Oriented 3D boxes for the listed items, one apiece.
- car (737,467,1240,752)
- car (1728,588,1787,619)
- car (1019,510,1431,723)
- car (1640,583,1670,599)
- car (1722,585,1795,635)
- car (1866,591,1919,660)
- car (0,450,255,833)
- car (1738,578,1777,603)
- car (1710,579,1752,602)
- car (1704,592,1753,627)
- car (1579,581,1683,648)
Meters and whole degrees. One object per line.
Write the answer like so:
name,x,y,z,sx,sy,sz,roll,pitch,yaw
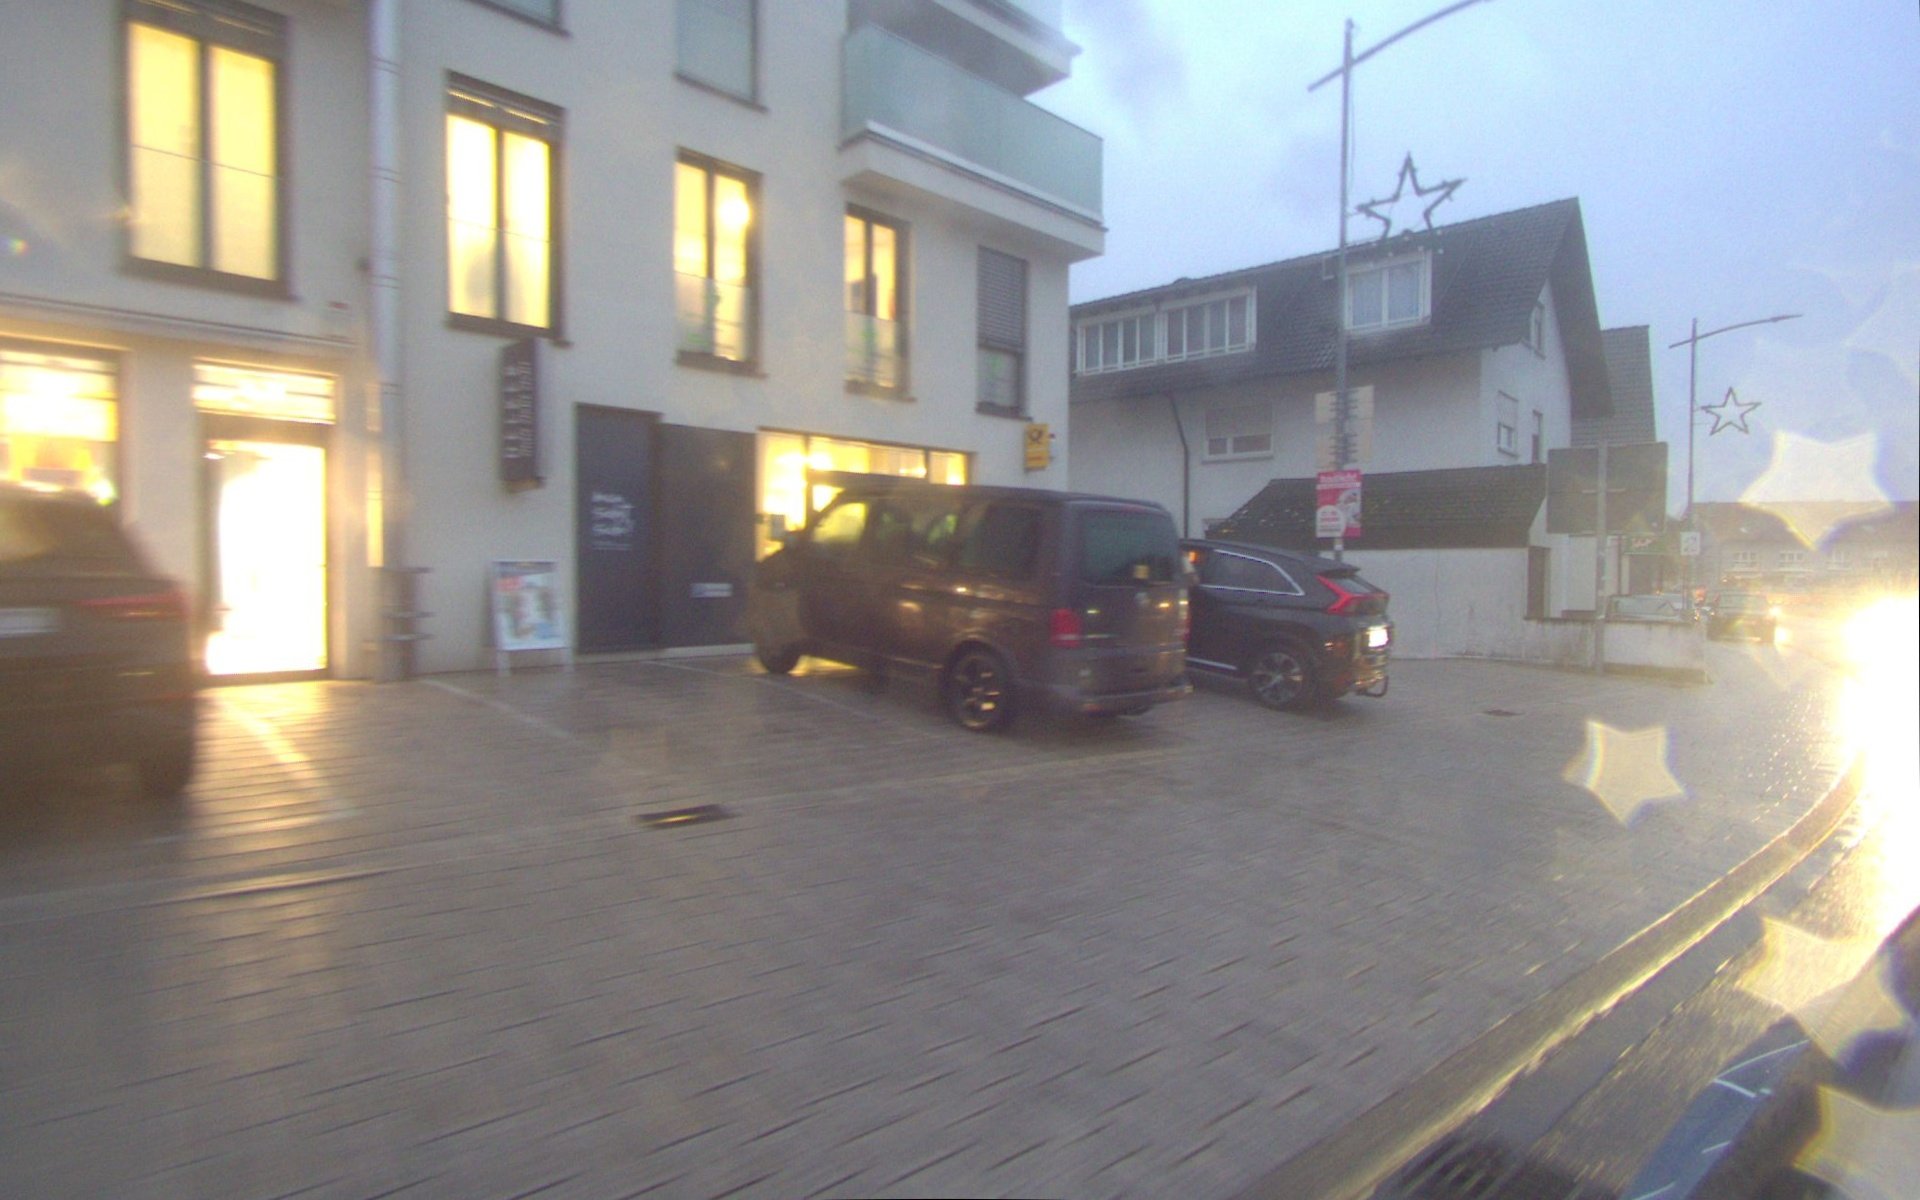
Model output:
car,0.016,-0.130,9.480,1.942,1.956,4.547,1,5,-44
car,39.183,0.171,49.805,1.728,1.461,3.956,0,0,31
car,2.925,0.046,11.713,4.138,1.653,1.730,11,7,39
car,67.166,-0.906,97.878,1.737,1.435,3.721,3,1,25
car,27.389,0.311,34.802,1.839,1.606,3.718,2,1,37
car,22.588,0.555,23.875,1.565,1.487,3.567,-1,1,39
car,-5.496,0.049,5.432,4.509,1.510,1.944,4,5,43
car,65.688,-0.769,83.414,1.983,2.039,3.958,0,1,30
car,54.059,-0.646,70.997,1.657,1.541,3.959,3,1,29
car,30.728,0.365,40.484,1.490,1.307,3.246,2,1,37
car,17.265,0.338,25.981,1.770,1.515,3.723,4,2,40
